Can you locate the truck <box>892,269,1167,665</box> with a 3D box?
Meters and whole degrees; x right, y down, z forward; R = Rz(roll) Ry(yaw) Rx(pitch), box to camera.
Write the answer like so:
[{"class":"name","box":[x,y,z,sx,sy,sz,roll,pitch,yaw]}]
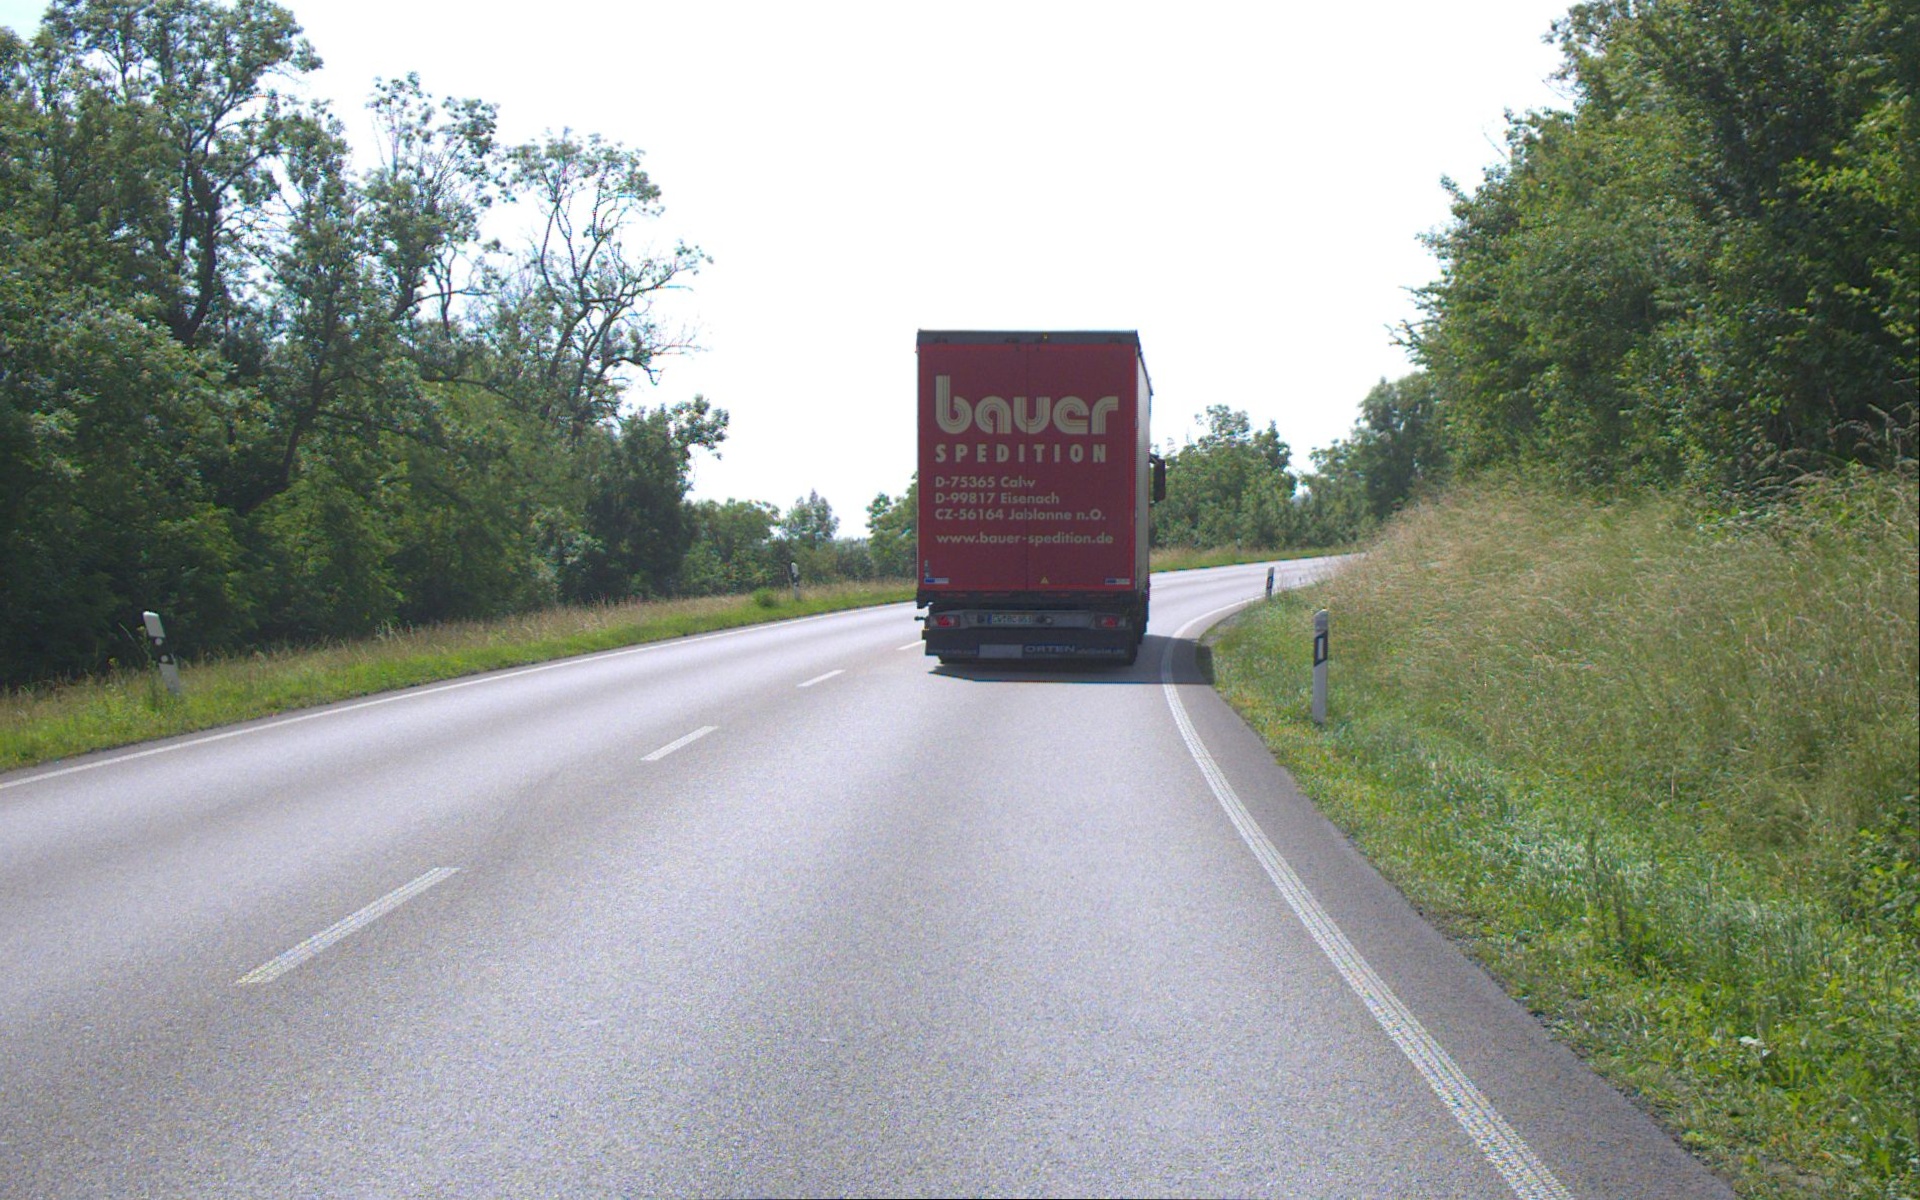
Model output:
[{"class":"truck","box":[1.055,-1.620,45.165,3.112,4.490,12.167,0,1,3]}]
